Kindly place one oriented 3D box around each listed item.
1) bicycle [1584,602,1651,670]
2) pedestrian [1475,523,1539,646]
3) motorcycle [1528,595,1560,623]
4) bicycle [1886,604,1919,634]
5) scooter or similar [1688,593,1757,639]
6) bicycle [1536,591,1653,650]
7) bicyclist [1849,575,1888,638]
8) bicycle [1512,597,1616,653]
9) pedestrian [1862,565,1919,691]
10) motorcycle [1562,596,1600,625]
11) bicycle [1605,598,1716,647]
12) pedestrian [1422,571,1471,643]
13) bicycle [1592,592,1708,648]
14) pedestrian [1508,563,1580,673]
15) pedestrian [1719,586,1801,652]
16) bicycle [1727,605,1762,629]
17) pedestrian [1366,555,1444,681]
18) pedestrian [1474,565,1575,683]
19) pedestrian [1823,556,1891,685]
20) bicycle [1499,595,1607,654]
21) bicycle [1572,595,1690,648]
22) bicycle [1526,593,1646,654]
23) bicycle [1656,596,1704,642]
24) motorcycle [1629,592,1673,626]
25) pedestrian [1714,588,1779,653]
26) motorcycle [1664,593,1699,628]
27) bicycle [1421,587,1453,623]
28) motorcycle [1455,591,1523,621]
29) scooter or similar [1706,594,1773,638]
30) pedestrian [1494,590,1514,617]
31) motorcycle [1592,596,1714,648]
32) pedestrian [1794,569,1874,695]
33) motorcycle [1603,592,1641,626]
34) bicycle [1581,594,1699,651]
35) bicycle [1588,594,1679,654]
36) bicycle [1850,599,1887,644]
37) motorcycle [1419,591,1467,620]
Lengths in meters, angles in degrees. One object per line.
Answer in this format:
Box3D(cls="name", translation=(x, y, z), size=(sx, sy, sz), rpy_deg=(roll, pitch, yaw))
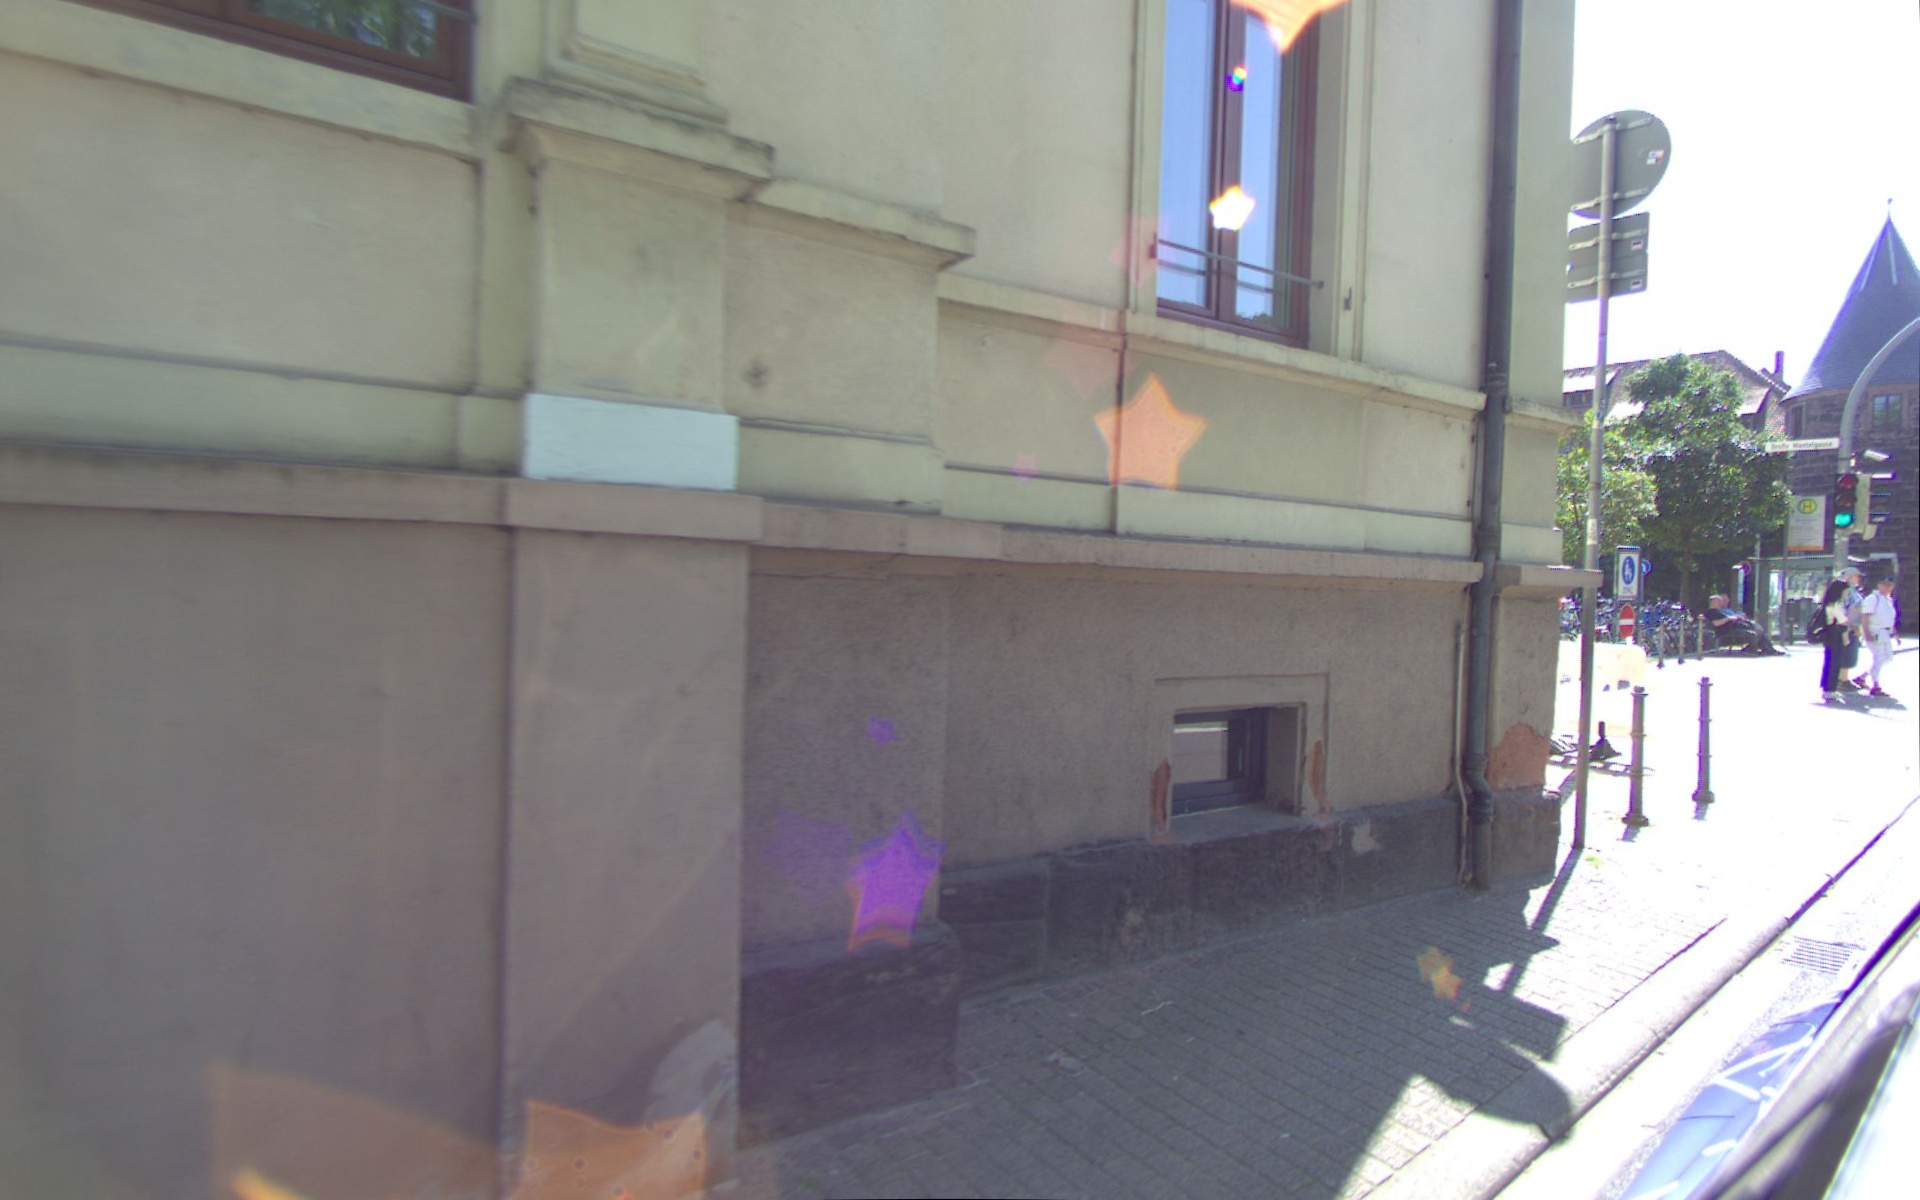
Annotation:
Box3D(cls="bicycle", translation=(11.205, 0.589, 17.235), size=(1.552, 1.016, 0.509), rpy_deg=(-3, 3, -39))
Box3D(cls="pedestrian", translation=(9.121, -0.269, 16.907), size=(0.646, 1.984, 0.937), rpy_deg=(2, 1, 12))
Box3D(cls="motorcycle", translation=(23.769, 0.363, 41.177), size=(1.897, 1.094, 0.630), rpy_deg=(2, 0, -45))
Box3D(cls="bicycle", translation=(39.239, 0.767, 42.119), size=(1.812, 1.167, 0.844), rpy_deg=(0, 2, -41))
Box3D(cls="scooter or similar", translation=(21.163, 0.422, 28.114), size=(0.640, 1.231, 1.433), rpy_deg=(0, 0, -41))
Box3D(cls="bicycle", translation=(13.791, 0.430, 22.040), size=(0.518, 1.213, 2.083), rpy_deg=(2, 0, -42))
Box3D(cls="bicyclist", translation=(24.258, 0.163, 27.025), size=(0.708, 1.648, 0.873), rpy_deg=(2, 1, 42))
Box3D(cls="bicycle", translation=(12.729, 0.510, 21.372), size=(0.597, 1.124, 1.795), rpy_deg=(2, 0, -41))
Box3D(cls="pedestrian", translation=(13.324, 0.383, 14.462), size=(0.654, 1.733, 0.527), rpy_deg=(1, 1, -41))
Box3D(cls="motorcycle", translation=(25.216, 0.411, 41.064), size=(1.874, 1.107, 0.876), rpy_deg=(0, 2, -45))
Box3D(cls="bicycle", translation=(16.505, 0.508, 23.884), size=(0.787, 1.079, 2.027), rpy_deg=(2, 0, -42))
Box3D(cls="pedestrian", translation=(12.293, 0.165, 25.565), size=(0.944, 1.782, 0.760), rpy_deg=(0, 1, -41))
Box3D(cls="bicycle", translation=(15.894, 0.434, 23.364), size=(0.763, 1.213, 2.083), rpy_deg=(2, 0, -42))
Box3D(cls="pedestrian", translation=(9.785, 0.282, 16.996), size=(0.794, 1.775, 0.904), rpy_deg=(2, 1, 16))
Box3D(cls="pedestrian", translation=(17.048, 0.395, 21.579), size=(0.682, 1.324, 1.249), rpy_deg=(0, 2, -42))
Box3D(cls="bicycle", translation=(34.561, 0.750, 44.578), size=(1.679, 1.015, 0.660), rpy_deg=(1, 1, -31))
Box3D(cls="pedestrian", translation=(7.148, 0.280, 16.287), size=(0.789, 1.966, 0.791), rpy_deg=(1, 1, -7))
Box3D(cls="pedestrian", translation=(8.883, 0.361, 15.958), size=(0.969, 1.787, 0.929), rpy_deg=(1, 1, -9))
Box3D(cls="pedestrian", translation=(13.416, 0.285, 15.132), size=(0.717, 1.875, 0.617), rpy_deg=(1, 1, -40))
Box3D(cls="bicycle", translation=(11.995, 0.471, 20.527), size=(0.553, 1.124, 1.795), rpy_deg=(2, 0, -41))
Box3D(cls="bicycle", translation=(14.802, 0.458, 22.367), size=(0.594, 1.099, 2.083), rpy_deg=(2, 0, -42))
Box3D(cls="bicycle", translation=(13.351, 0.482, 21.642), size=(0.597, 1.213, 2.083), rpy_deg=(2, 0, -41))
Box3D(cls="bicycle", translation=(19.211, 0.479, 27.038), size=(0.540, 1.145, 1.727), rpy_deg=(2, 1, 19))
Box3D(cls="motorcycle", translation=(26.043, 0.326, 38.132), size=(2.230, 1.251, 0.740), rpy_deg=(0, 2, -39))
Box3D(cls="pedestrian", translation=(16.485, 0.418, 21.211), size=(0.682, 1.298, 0.962), rpy_deg=(0, 1, -42))
Box3D(cls="motorcycle", translation=(26.882, 0.379, 37.687), size=(2.180, 1.251, 0.658), rpy_deg=(0, 2, -45))
Box3D(cls="bicycle", translation=(16.280, 0.164, 34.535), size=(0.524, 1.175, 1.899), rpy_deg=(2, 2, 39))
Box3D(cls="motorcycle", translation=(21.940, 0.246, 41.990), size=(0.861, 1.161, 2.344), rpy_deg=(0, 1, -37))
Box3D(cls="scooter or similar", translation=(22.314, 0.433, 28.996), size=(0.640, 1.231, 1.433), rpy_deg=(0, 0, -41))
Box3D(cls="pedestrian", translation=(29.012, 0.179, 53.992), size=(0.660, 1.439, 0.663), rpy_deg=(0, 1, -10))
Box3D(cls="motorcycle", translation=(15.935, 0.483, 23.317), size=(0.763, 1.118, 2.207), rpy_deg=(2, 0, -42))
Box3D(cls="pedestrian", translation=(12.183, 0.424, 14.116), size=(0.670, 1.696, 0.716), rpy_deg=(1, 1, -41))
Box3D(cls="motorcycle", translation=(25.370, 0.348, 38.758), size=(1.774, 1.247, 0.671), rpy_deg=(2, 0, -39))
Box3D(cls="bicycle", translation=(15.322, 0.485, 22.847), size=(0.763, 1.213, 2.083), rpy_deg=(2, 0, -42))
Box3D(cls="bicycle", translation=(17.014, 0.627, 25.602), size=(0.711, 1.215, 1.551), rpy_deg=(2, -14, -34))
Box3D(cls="bicycle", translation=(24.328, 0.551, 27.121), size=(0.688, 1.143, 1.979), rpy_deg=(2, 2, 41))
Box3D(cls="motorcycle", translation=(21.848, 0.230, 45.773), size=(2.003, 1.251, 0.601), rpy_deg=(1, 1, -14))
